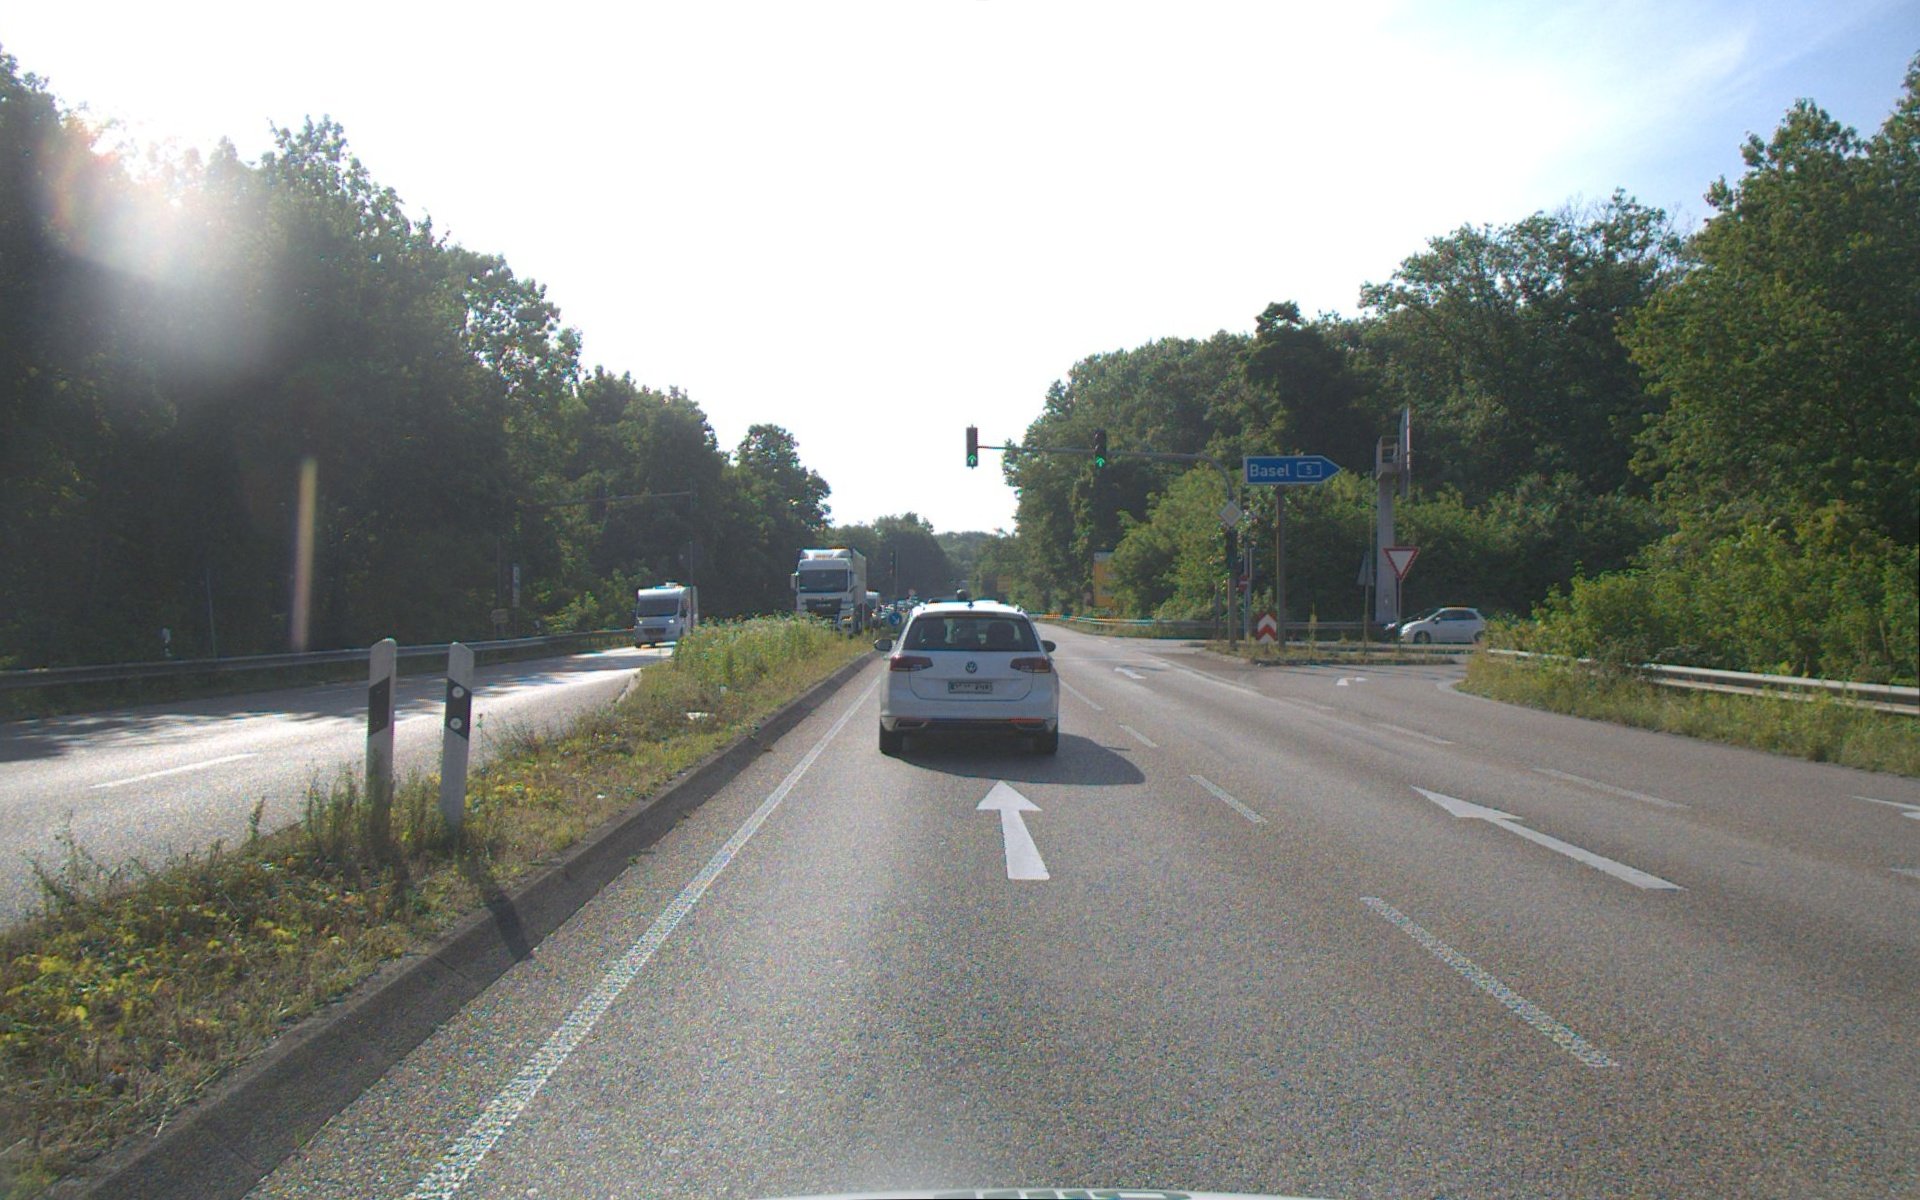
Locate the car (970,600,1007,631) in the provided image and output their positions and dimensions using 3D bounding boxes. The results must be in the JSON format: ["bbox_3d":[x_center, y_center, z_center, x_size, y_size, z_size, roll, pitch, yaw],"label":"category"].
[{"bbox_3d":[1.359,0.710,78.862,1.725,1.404,3.972,1,0,1],"label":"car"}]

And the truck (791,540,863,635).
[{"bbox_3d":[-5.953,-0.532,74.685,2.832,4.067,6.719,1,0,-2],"label":"truck"}]

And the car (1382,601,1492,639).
[{"bbox_3d":[19.520,0.805,67.814,4.023,1.522,1.786,0,0,3],"label":"car"}]

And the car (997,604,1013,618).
[{"bbox_3d":[5.040,1.258,187.330,1.725,1.404,3.972,-2,1,1],"label":"car"}]

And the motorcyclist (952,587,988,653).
[{"bbox_3d":[0.257,0.512,42.409,0.865,1.644,1.290,1,0,2],"label":"motorcyclist"}]

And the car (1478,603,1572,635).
[{"bbox_3d":[24.094,0.810,70.650,3.550,1.336,1.492,0,0,4],"label":"car"}]

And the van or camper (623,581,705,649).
[{"bbox_3d":[-13.123,0.635,73.679,2.364,2.758,6.436,-3,0,0],"label":"van or camper"}]

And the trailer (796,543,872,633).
[{"bbox_3d":[-6.124,-0.522,82.640,2.931,4.066,14.010,1,0,-1],"label":"trailer"}]

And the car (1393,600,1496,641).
[{"bbox_3d":[18.740,0.773,64.084,3.522,1.529,1.809,0,0,4],"label":"car"}]

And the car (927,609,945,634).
[{"bbox_3d":[-3.051,2.719,210.556,2.165,2.939,7.010,-2,0,0],"label":"car"}]

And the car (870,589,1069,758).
[{"bbox_3d":[0.103,0.678,17.687,1.831,1.548,4.834,0,0,0],"label":"car"}]

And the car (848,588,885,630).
[{"bbox_3d":[-6.153,0.577,109.143,2.032,2.578,6.163,-2,0,0],"label":"car"}]

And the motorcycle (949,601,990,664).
[{"bbox_3d":[0.251,0.812,42.358,0.890,1.478,2.689,-3,0,2],"label":"motorcycle"}]
